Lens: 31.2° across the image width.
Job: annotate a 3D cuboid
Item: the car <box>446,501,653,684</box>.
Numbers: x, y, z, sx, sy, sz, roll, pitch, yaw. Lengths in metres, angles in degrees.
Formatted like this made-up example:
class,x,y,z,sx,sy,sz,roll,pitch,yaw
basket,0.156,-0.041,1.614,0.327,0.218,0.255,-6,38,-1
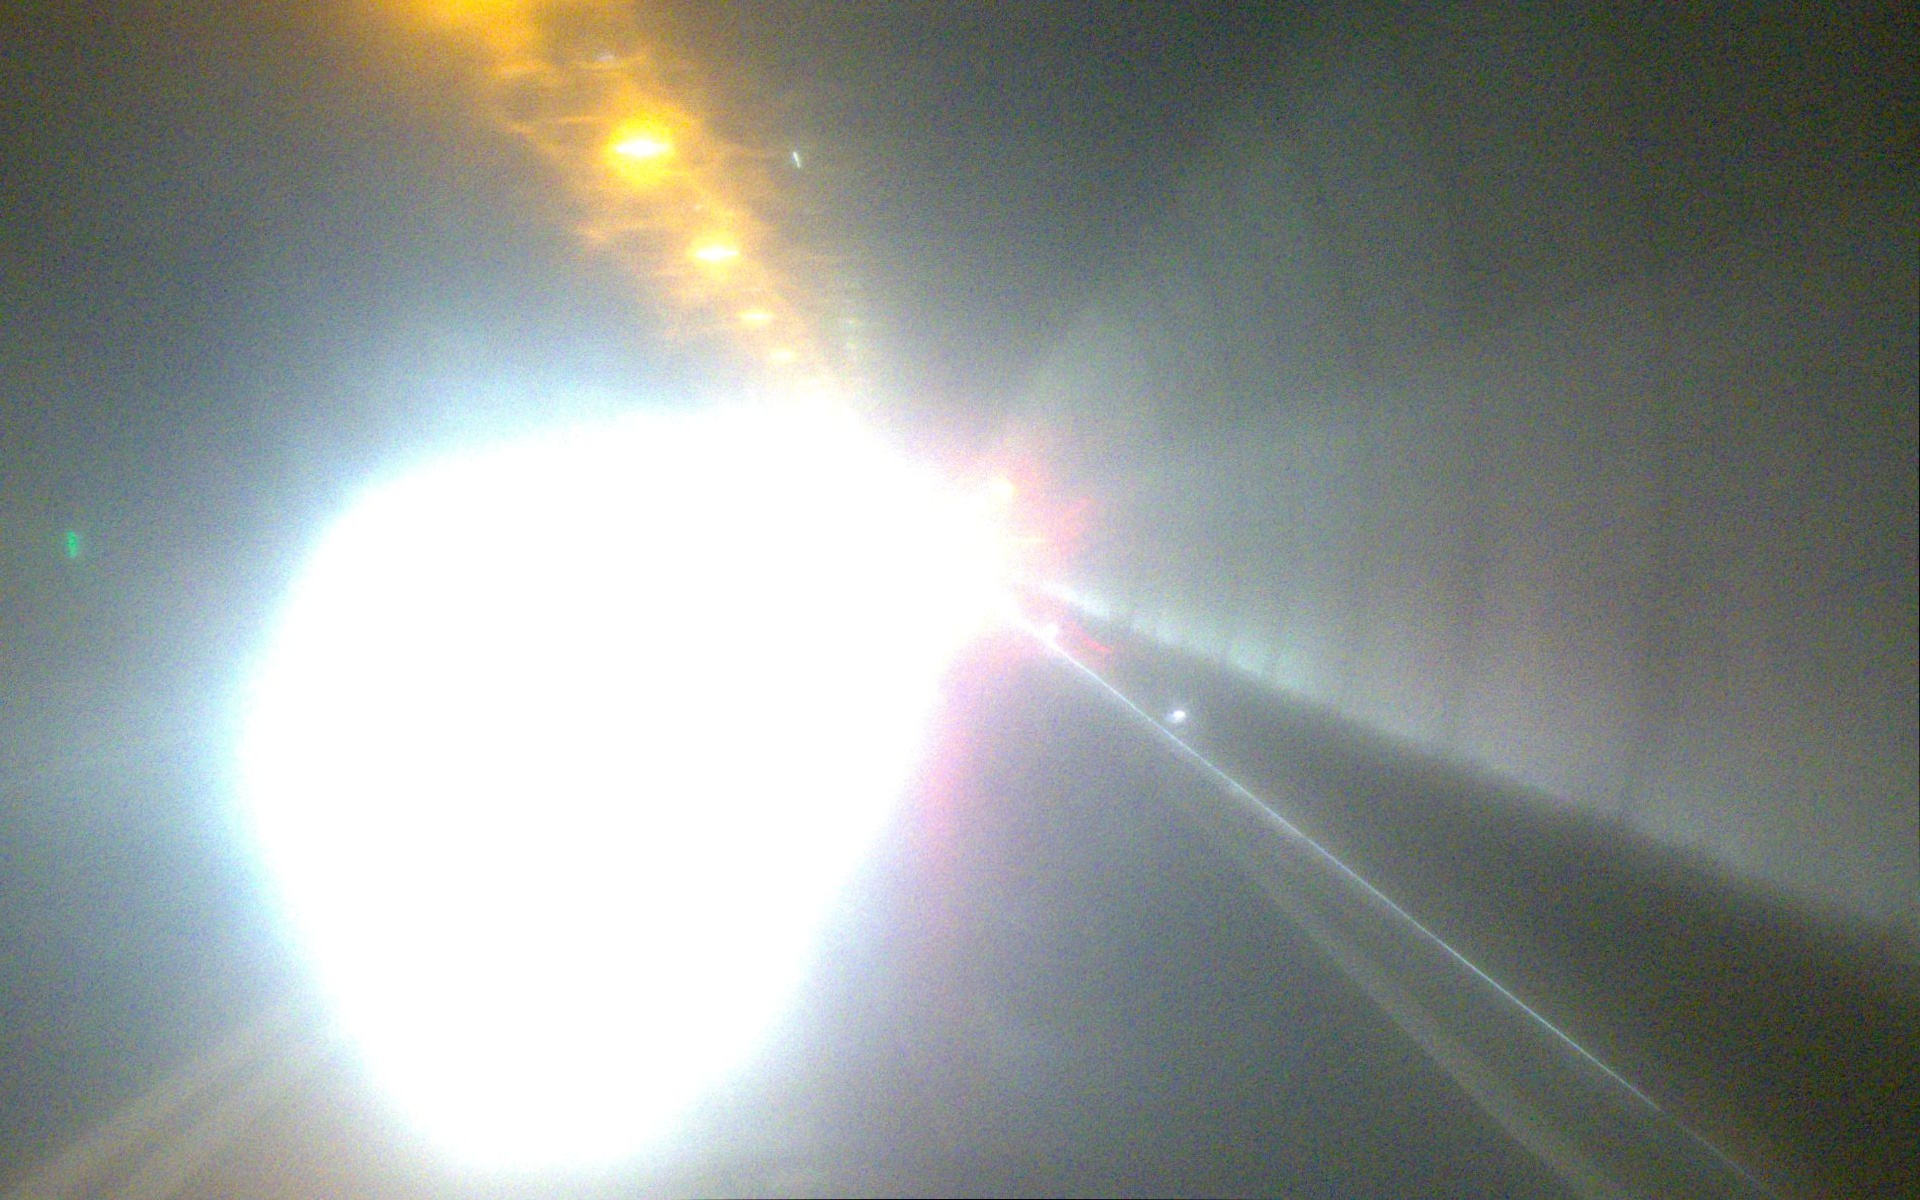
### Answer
class,x,y,z,sx,sy,sz,roll,pitch,yaw
car,-4.242,-0.093,36.024,1.729,1.786,3.932,1,1,-1

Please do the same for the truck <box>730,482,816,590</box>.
class,x,y,z,sx,sy,sz,roll,pitch,yaw
truck,-5.508,-1.914,102.021,2.279,3.006,6.595,2,1,-2

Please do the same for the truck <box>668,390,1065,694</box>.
class,x,y,z,sx,sy,sz,roll,pitch,yaw
truck,-0.880,-0.596,35.574,3.535,2.684,8.956,1,1,0
